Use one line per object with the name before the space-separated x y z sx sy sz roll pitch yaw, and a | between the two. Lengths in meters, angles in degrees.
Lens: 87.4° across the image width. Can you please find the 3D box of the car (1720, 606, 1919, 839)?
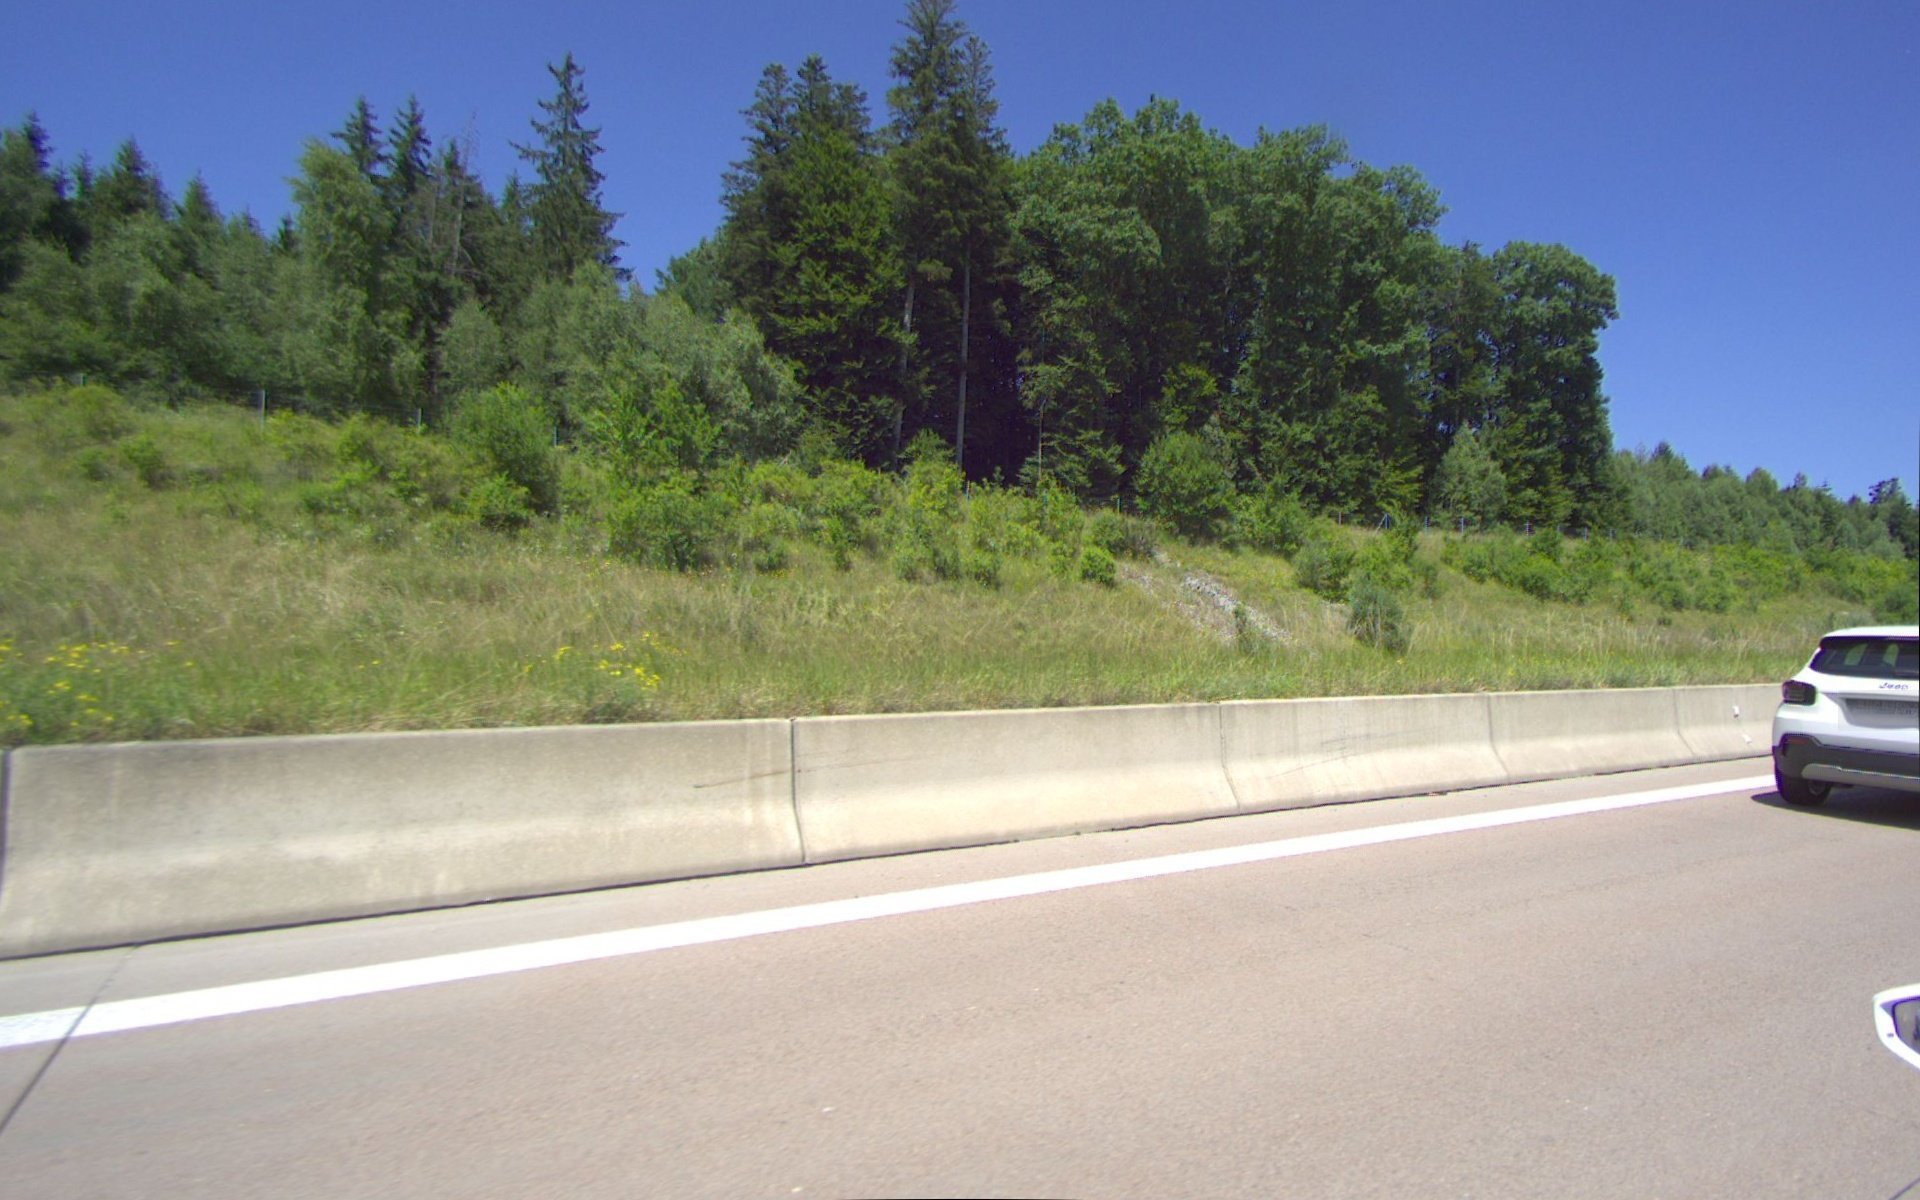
car | 8.682 0.928 8.535 4.777 1.629 1.870 2 -1 -30
